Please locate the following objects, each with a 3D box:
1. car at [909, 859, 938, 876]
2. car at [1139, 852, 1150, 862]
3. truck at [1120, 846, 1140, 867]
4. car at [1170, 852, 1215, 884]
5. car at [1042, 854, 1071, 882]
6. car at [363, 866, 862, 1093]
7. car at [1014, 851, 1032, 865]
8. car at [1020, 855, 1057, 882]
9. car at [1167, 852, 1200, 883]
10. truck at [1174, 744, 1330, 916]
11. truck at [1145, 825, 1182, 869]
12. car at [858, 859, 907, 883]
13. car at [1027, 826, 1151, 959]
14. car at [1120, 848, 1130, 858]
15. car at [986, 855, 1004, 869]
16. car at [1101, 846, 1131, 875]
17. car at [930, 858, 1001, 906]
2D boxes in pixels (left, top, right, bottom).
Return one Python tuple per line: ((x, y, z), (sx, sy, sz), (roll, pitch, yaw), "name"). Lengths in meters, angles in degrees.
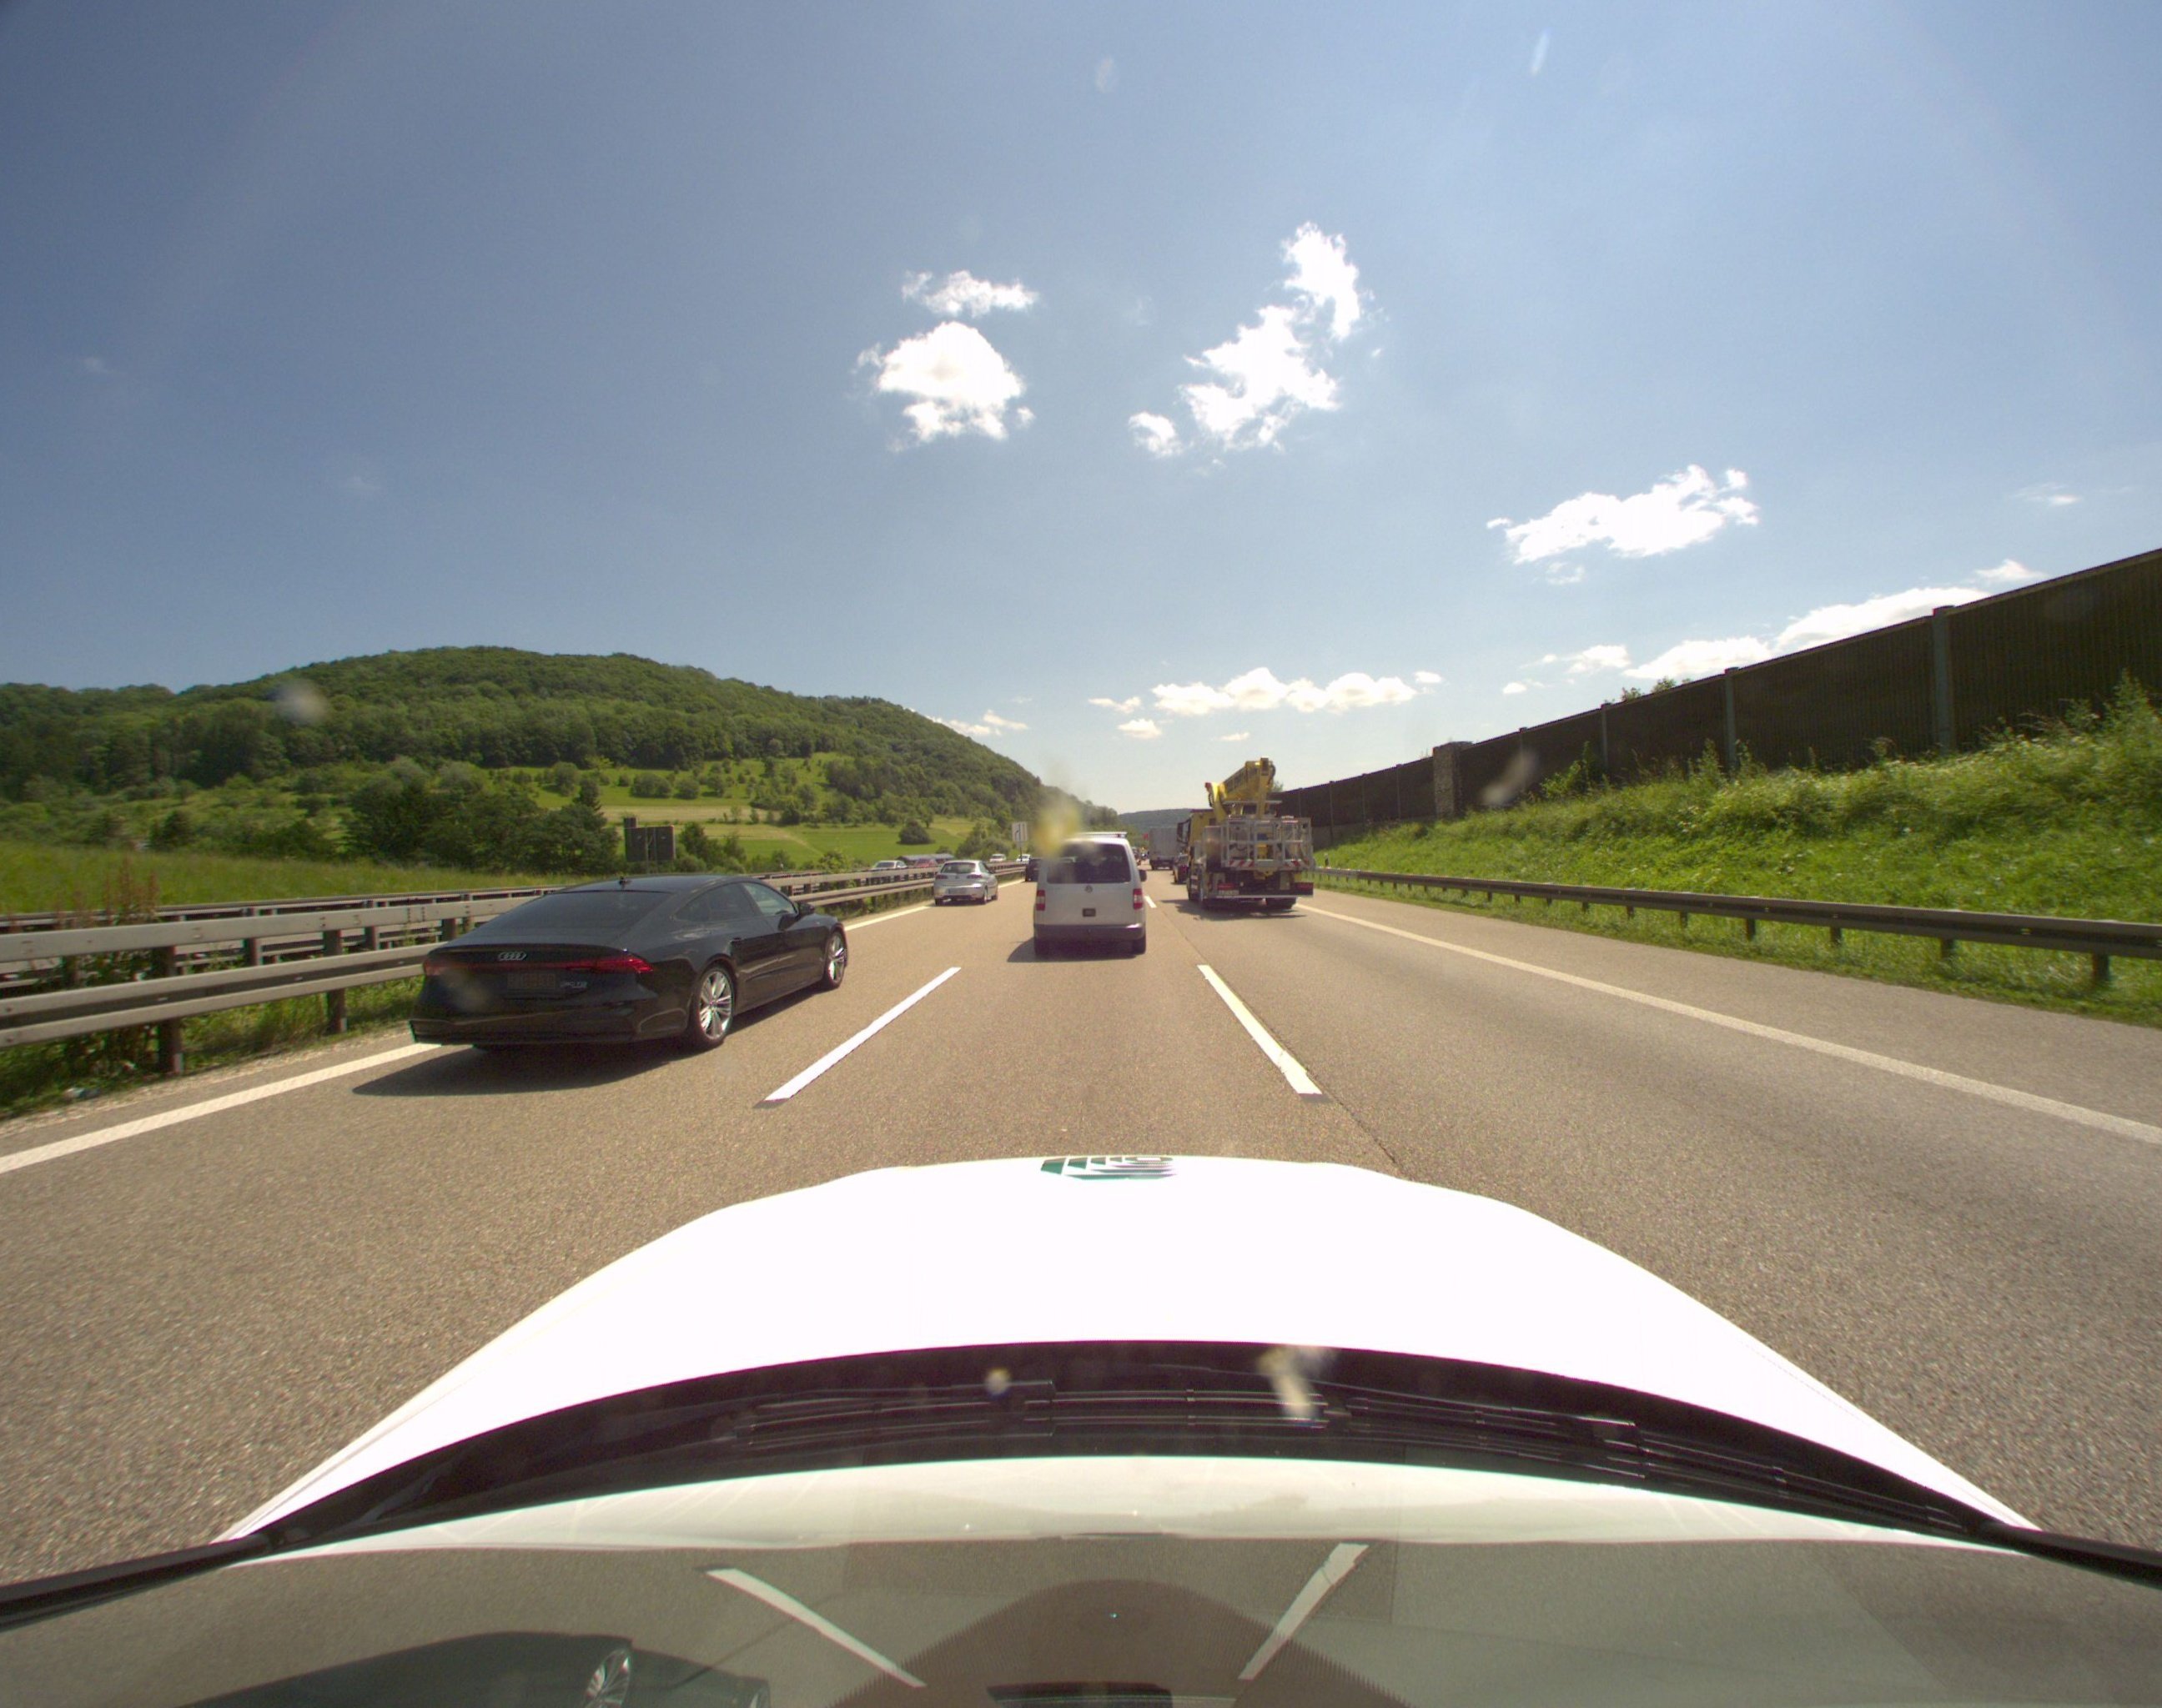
((-15.810, 1.303, 81.793), (1.818, 1.644, 4.547), (-1, 0, 2), "car")
((12.201, 0.572, 157.483), (1.986, 1.805, 4.002), (0, -1, 2), "car")
((6.282, 0.298, 105.075), (2.381, 2.541, 5.940), (-1, 0, 1), "truck")
((5.564, 0.678, 41.072), (1.780, 1.458, 3.771), (-1, 0, 1), "car")
((-1.874, 1.069, 64.111), (1.986, 2.013, 4.001), (-2, 0, 1), "car")
((-3.774, 0.869, 7.869), (1.794, 1.390, 4.971), (-1, 0, 2), "car")
((-8.323, 0.592, 117.434), (1.986, 1.839, 5.229), (-1, 0, 2), "car")
((-2.473, 0.821, 48.532), (1.918, 1.499, 4.001), (-1, 0, 1), "car")
((7.190, 0.915, 57.465), (1.986, 2.013, 4.002), (-1, 0, 2), "car")
((4.465, -0.549, 23.270), (2.694, 3.942, 8.723), (-1, 0, 1), "truck")
((7.617, -0.585, 76.006), (2.929, 3.823, 8.241), (0, -1, 2), "truck")
((-13.105, 1.107, 53.968), (1.986, 1.455, 4.529), (-1, 0, 2), "car")
((0.152, 0.560, 13.772), (1.750, 1.868, 4.001), (-1, 0, 1), "car")
((8.802, -0.177, 164.094), (1.986, 1.805, 4.002), (0, -1, 2), "car")
((-12.774, 1.130, 121.161), (2.052, 1.941, 4.663), (-1, 0, 2), "car")
((2.448, 0.454, 57.528), (1.986, 1.975, 4.001), (-1, 0, 1), "car")
((-3.758, 0.869, 27.095), (1.689, 1.445, 3.863), (-1, 0, 1), "car")
